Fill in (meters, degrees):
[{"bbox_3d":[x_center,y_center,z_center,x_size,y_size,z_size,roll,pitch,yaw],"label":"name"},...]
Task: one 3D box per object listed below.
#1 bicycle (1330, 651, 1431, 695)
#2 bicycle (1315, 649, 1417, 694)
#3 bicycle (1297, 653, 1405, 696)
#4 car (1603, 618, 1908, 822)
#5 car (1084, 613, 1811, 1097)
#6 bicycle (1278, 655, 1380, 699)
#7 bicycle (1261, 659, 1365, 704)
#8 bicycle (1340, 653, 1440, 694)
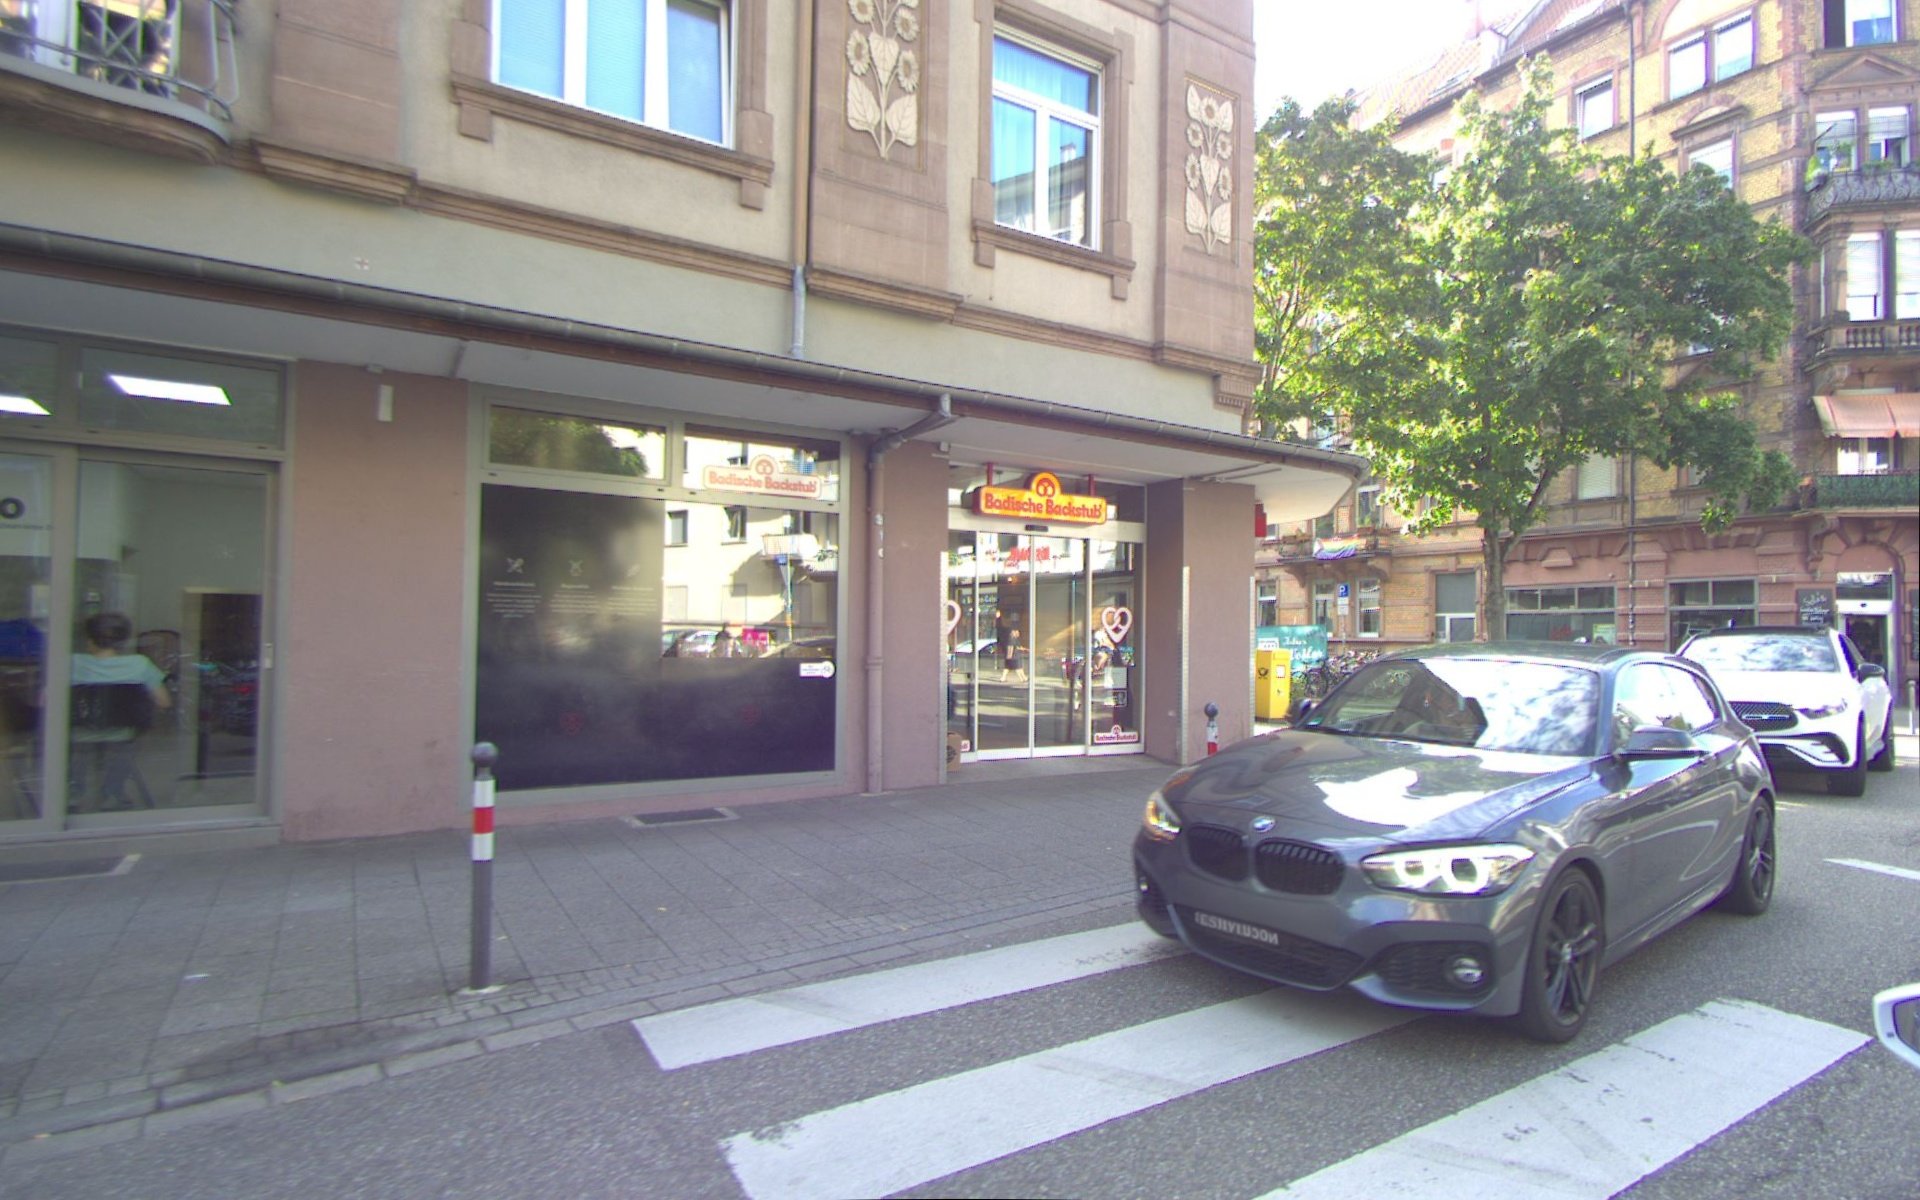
[{"bbox_3d":[12.360,2.135,29.639,0.626,1.213,2.878,2,-3,-34],"label":"bicycle"},{"bbox_3d":[11.764,2.051,29.221,0.626,1.206,2.878,2,-3,-34],"label":"bicycle"},{"bbox_3d":[11.138,2.110,28.750,0.626,1.138,3.077,2,-3,-34],"label":"bicycle"},{"bbox_3d":[8.847,1.117,10.992,4.816,1.744,1.924,1,-4,-44],"label":"car"},{"bbox_3d":[2.709,0.875,5.077,4.177,1.455,1.735,3,-2,-40],"label":"car"},{"bbox_3d":[10.390,2.145,28.406,0.626,1.138,2.878,2,-3,-34],"label":"bicycle"},{"bbox_3d":[9.812,2.241,28.053,0.719,1.138,2.878,2,-3,-34],"label":"bicycle"},{"bbox_3d":[12.818,2.175,30.047,0.626,1.138,2.878,2,-3,-34],"label":"bicycle"}]
